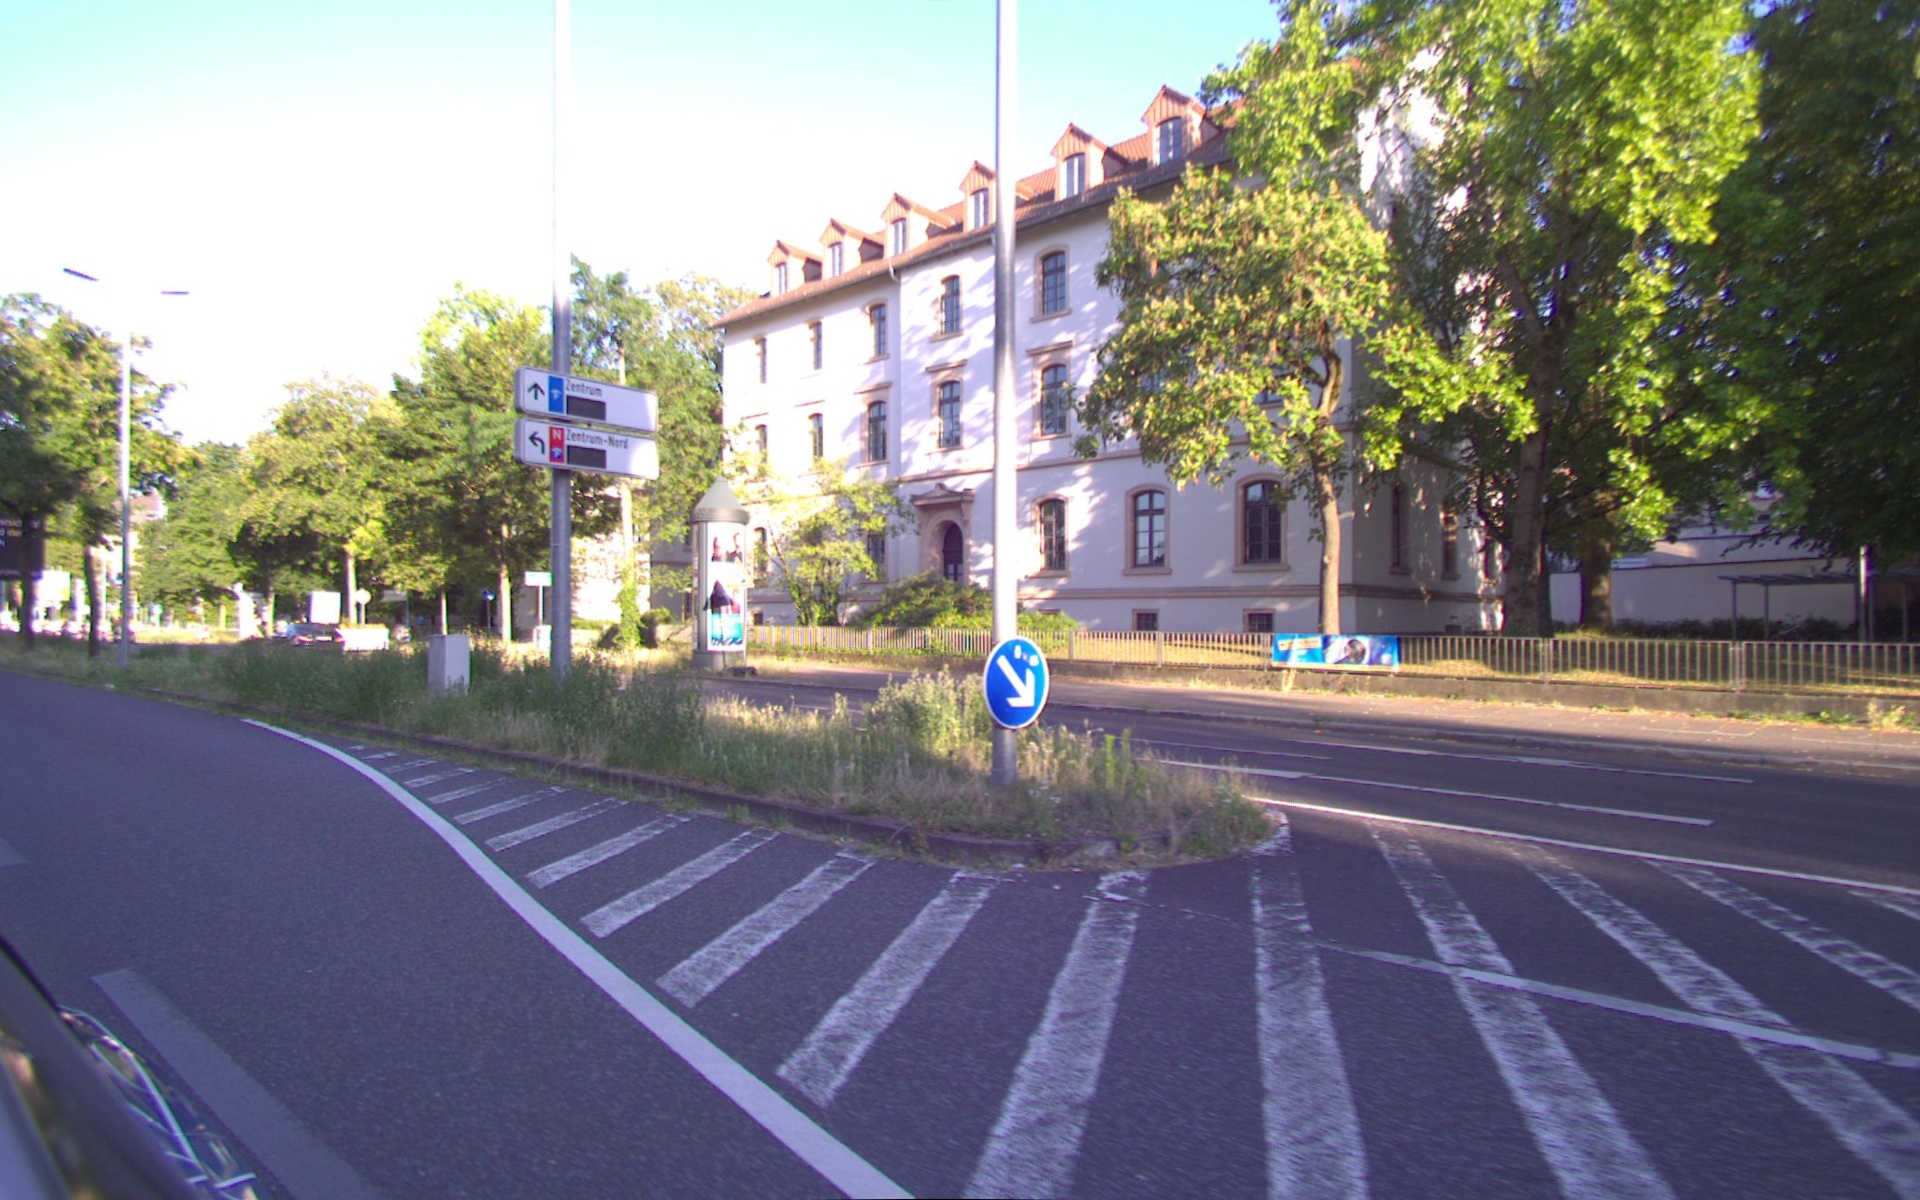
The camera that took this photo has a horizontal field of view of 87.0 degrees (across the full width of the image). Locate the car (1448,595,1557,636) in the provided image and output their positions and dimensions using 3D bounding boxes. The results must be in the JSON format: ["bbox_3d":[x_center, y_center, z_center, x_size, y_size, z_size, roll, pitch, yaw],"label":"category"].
[{"bbox_3d":[24.882,0.692,46.473,4.048,1.842,1.966,0,-1,-10],"label":"car"}]

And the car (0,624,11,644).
[{"bbox_3d":[-74.508,2.578,77.825,4.005,1.428,1.755,-1,-5,41],"label":"car"}]

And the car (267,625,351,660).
[{"bbox_3d":[-26.351,1.711,40.917,4.005,1.283,1.755,-1,-5,41],"label":"car"}]
